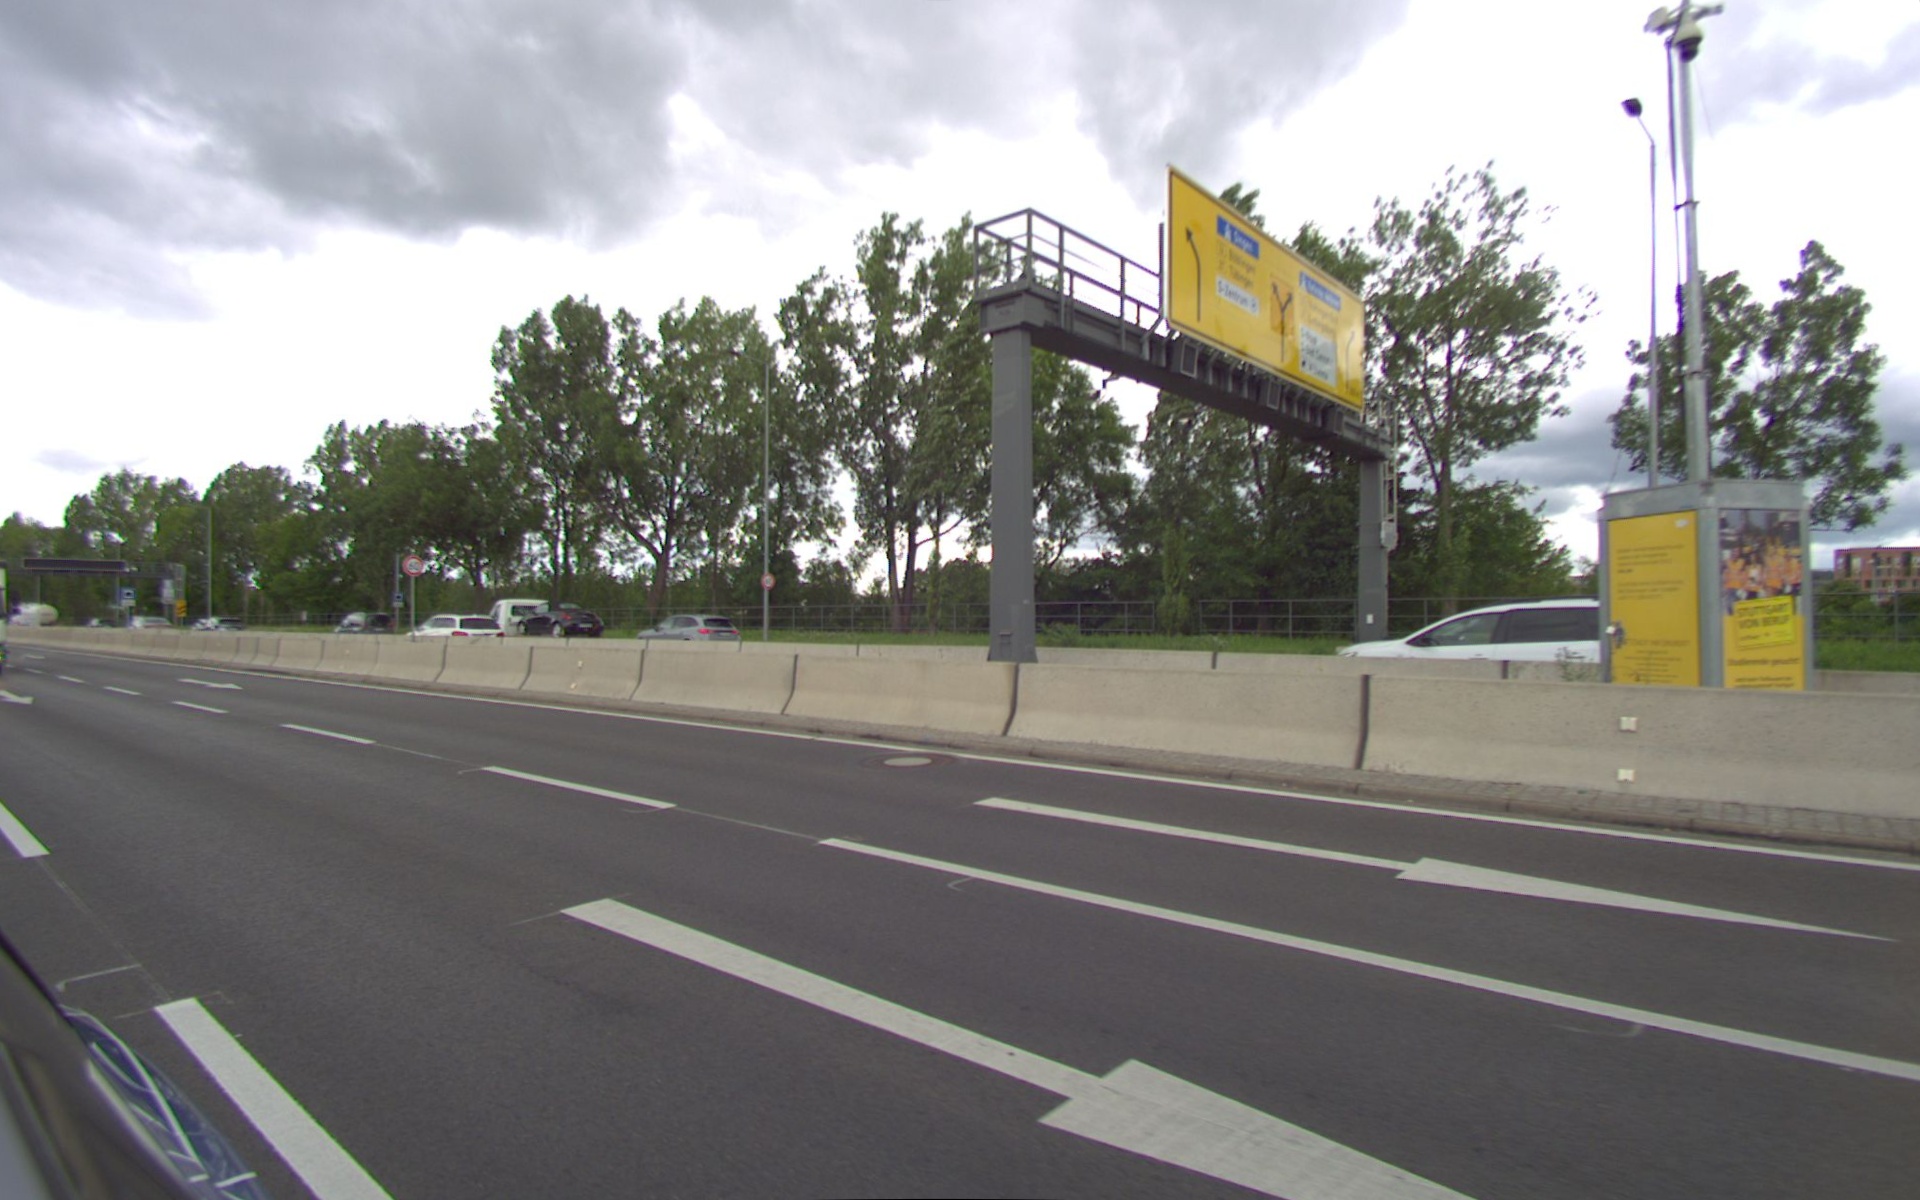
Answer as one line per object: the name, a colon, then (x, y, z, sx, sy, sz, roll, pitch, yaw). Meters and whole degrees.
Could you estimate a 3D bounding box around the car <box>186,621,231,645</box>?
car: (-56.925, 2.523, 76.673, 4.120, 1.695, 1.858, -2, 0, 41)

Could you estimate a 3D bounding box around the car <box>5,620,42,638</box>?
car: (-87.844, 2.715, 94.915, 4.883, 1.571, 1.973, -2, 0, 41)

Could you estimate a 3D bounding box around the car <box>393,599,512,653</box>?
car: (-17.450, 0.890, 34.689, 4.692, 1.681, 1.973, -2, 0, 41)

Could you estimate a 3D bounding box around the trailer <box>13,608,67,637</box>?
trailer: (-112.032, 2.728, 123.194, 11.655, 3.244, 3.070, -2, 0, 39)

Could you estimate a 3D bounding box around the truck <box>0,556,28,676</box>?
truck: (-28.617, 0.542, 28.134, 8.380, 3.106, 2.906, -2, 0, 40)

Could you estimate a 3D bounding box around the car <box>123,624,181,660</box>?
car: (-49.736, 2.584, 62.279, 4.679, 2.029, 1.973, -2, 0, 41)

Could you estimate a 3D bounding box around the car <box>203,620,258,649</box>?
car: (-45.455, 2.130, 62.998, 4.123, 1.695, 1.858, -2, 0, 41)

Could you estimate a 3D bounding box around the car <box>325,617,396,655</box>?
car: (-34.160, 2.049, 57.628, 4.934, 2.029, 1.973, -2, 0, 41)

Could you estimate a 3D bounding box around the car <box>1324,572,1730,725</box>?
car: (7.454, 0.579, 13.549, 4.409, 1.697, 1.973, -2, 0, 41)

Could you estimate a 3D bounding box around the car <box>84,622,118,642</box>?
car: (-84.483, 3.144, 99.508, 4.302, 1.752, 1.973, -2, 0, 42)

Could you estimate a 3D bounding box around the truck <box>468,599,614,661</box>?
truck: (-15.295, 1.082, 36.756, 6.296, 2.029, 2.182, -2, 0, 40)

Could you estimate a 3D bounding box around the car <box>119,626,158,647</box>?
car: (-73.596, 3.289, 90.633, 4.468, 1.752, 1.973, -2, 0, 42)

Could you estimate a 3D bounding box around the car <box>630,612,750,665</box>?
car: (-9.710, 1.359, 36.262, 4.409, 1.697, 1.973, -2, 0, 41)
